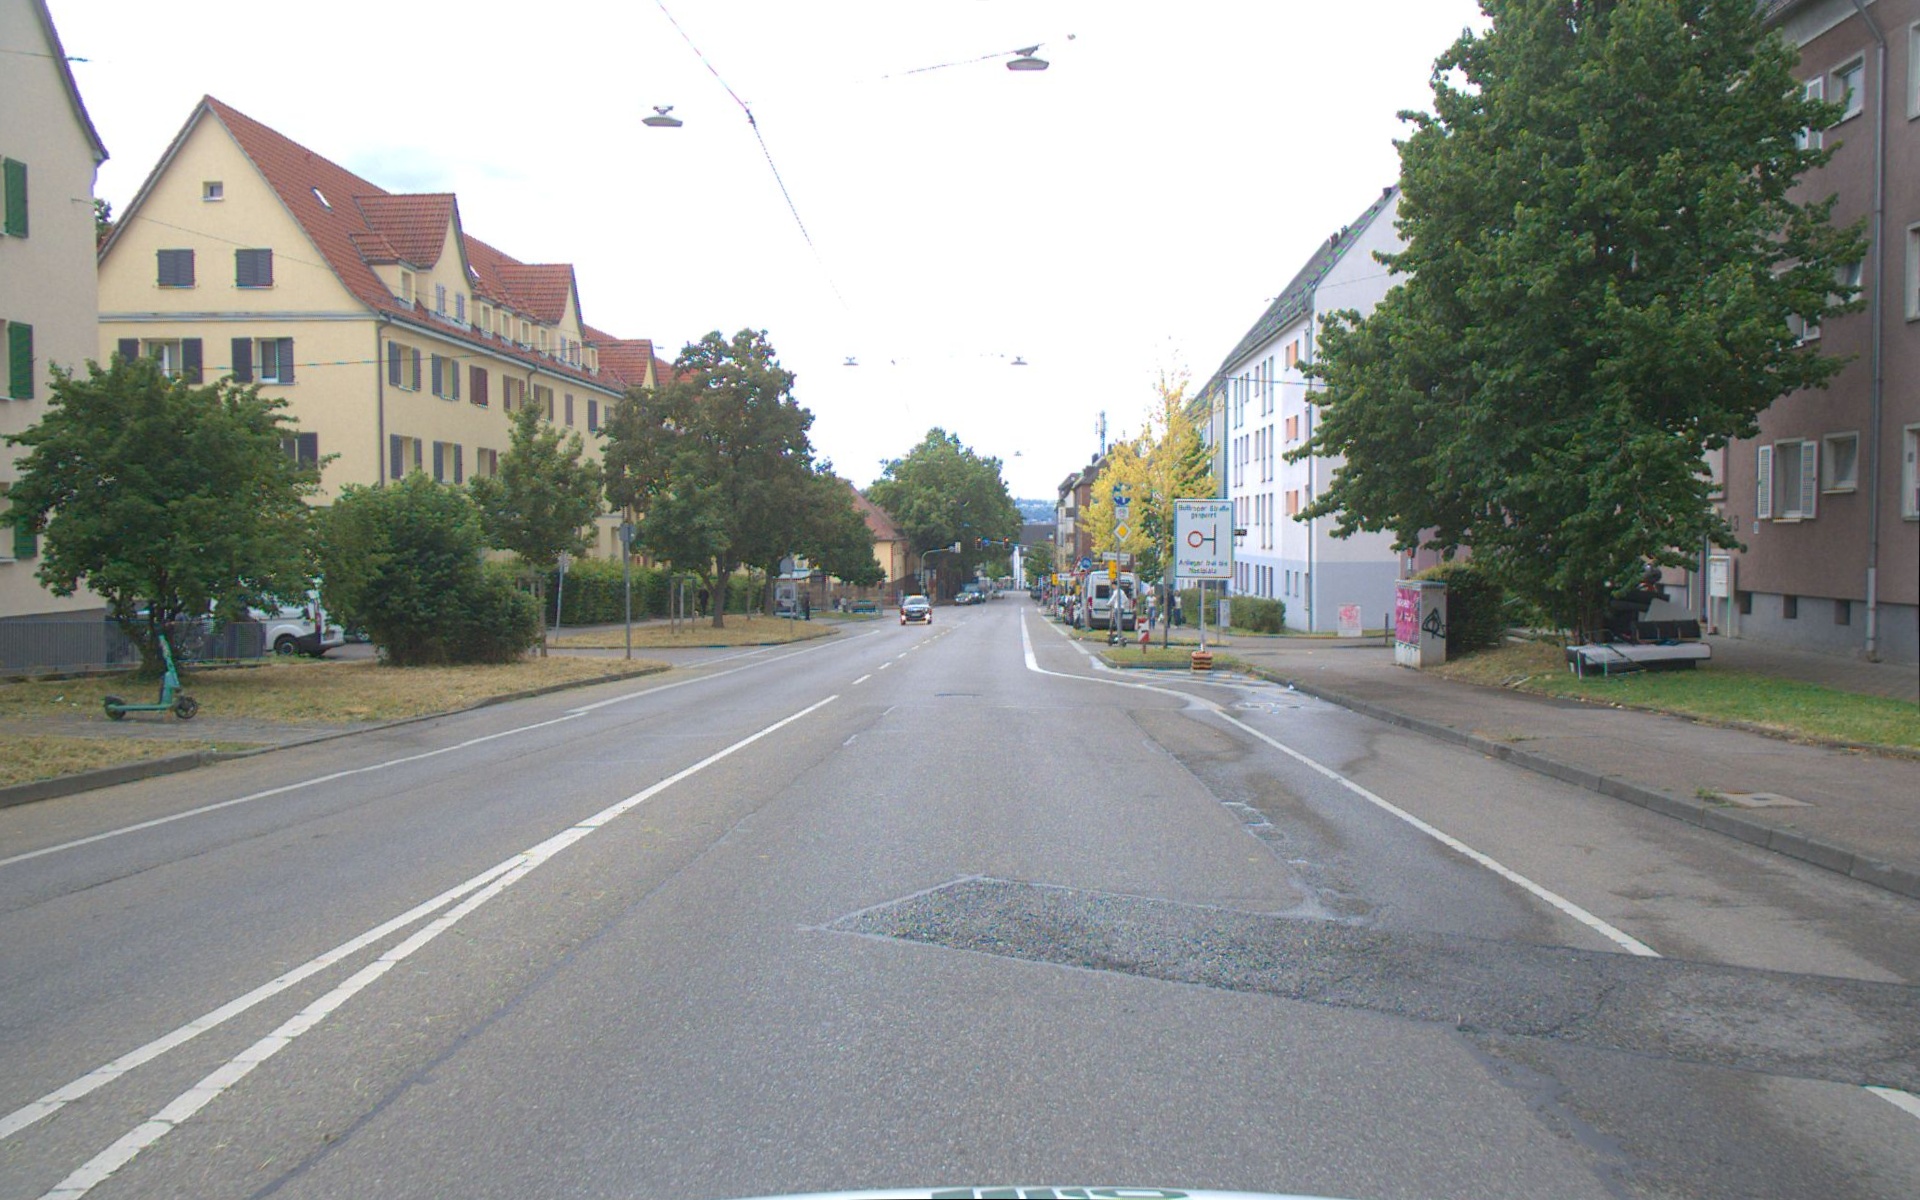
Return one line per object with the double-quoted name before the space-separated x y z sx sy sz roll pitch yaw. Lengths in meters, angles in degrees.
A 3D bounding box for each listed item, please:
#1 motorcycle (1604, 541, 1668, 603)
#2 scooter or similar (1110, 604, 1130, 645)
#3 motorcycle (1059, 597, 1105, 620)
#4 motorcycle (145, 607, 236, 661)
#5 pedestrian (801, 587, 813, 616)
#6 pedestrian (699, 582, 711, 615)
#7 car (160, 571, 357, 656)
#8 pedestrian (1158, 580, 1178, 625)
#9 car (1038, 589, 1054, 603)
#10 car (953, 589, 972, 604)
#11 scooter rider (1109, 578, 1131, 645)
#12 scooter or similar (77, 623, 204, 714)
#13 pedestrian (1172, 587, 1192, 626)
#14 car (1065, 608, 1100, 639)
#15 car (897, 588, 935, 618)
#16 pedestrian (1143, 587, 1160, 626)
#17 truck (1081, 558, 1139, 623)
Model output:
"motorcycle" 13.998 -0.572 34.298 0.578 1.249 1.968 0 0 1
"scooter or similar" 4.927 0.745 51.003 0.480 1.183 2.075 0 1 1
"motorcycle" 6.933 0.476 94.275 2.545 1.301 0.753 0 0 -2
"motorcycle" -19.829 0.866 42.598 2.553 1.301 1.013 1 1 35
"pedestrian" -9.310 0.109 100.688 0.585 1.757 0.861 1 0 4
"pedestrian" -13.662 -0.085 88.721 0.503 1.811 0.753 0 0 2
"car" -19.578 0.364 46.286 4.619 2.293 1.996 0 0 2
"pedestrian" 8.975 0.114 71.426 0.658 1.920 0.764 0 -1 -10
"car" 12.237 -0.562 236.464 1.953 1.969 4.918 0 1 -1
"car" 0.291 -0.356 178.117 1.719 1.498 4.309 -1 1 5
"scooter rider" 4.926 0.336 51.062 0.612 2.049 0.758 0 0 1
"scooter or similar" -10.336 0.855 20.872 1.342 1.105 0.466 -1 1 -3
"pedestrian" 9.629 0.280 71.810 0.644 1.633 0.574 -4 1 -7
"car" 6.744 1.279 91.090 1.646 1.571 4.339 1 1 1
"car" -2.506 0.160 94.883 1.860 1.648 4.363 0 1 3
"pedestrian" 8.386 0.291 72.493 0.566 1.673 0.560 0 -1 -12
"truck" 6.228 -0.422 69.170 2.010 2.610 5.690 0 1 1
